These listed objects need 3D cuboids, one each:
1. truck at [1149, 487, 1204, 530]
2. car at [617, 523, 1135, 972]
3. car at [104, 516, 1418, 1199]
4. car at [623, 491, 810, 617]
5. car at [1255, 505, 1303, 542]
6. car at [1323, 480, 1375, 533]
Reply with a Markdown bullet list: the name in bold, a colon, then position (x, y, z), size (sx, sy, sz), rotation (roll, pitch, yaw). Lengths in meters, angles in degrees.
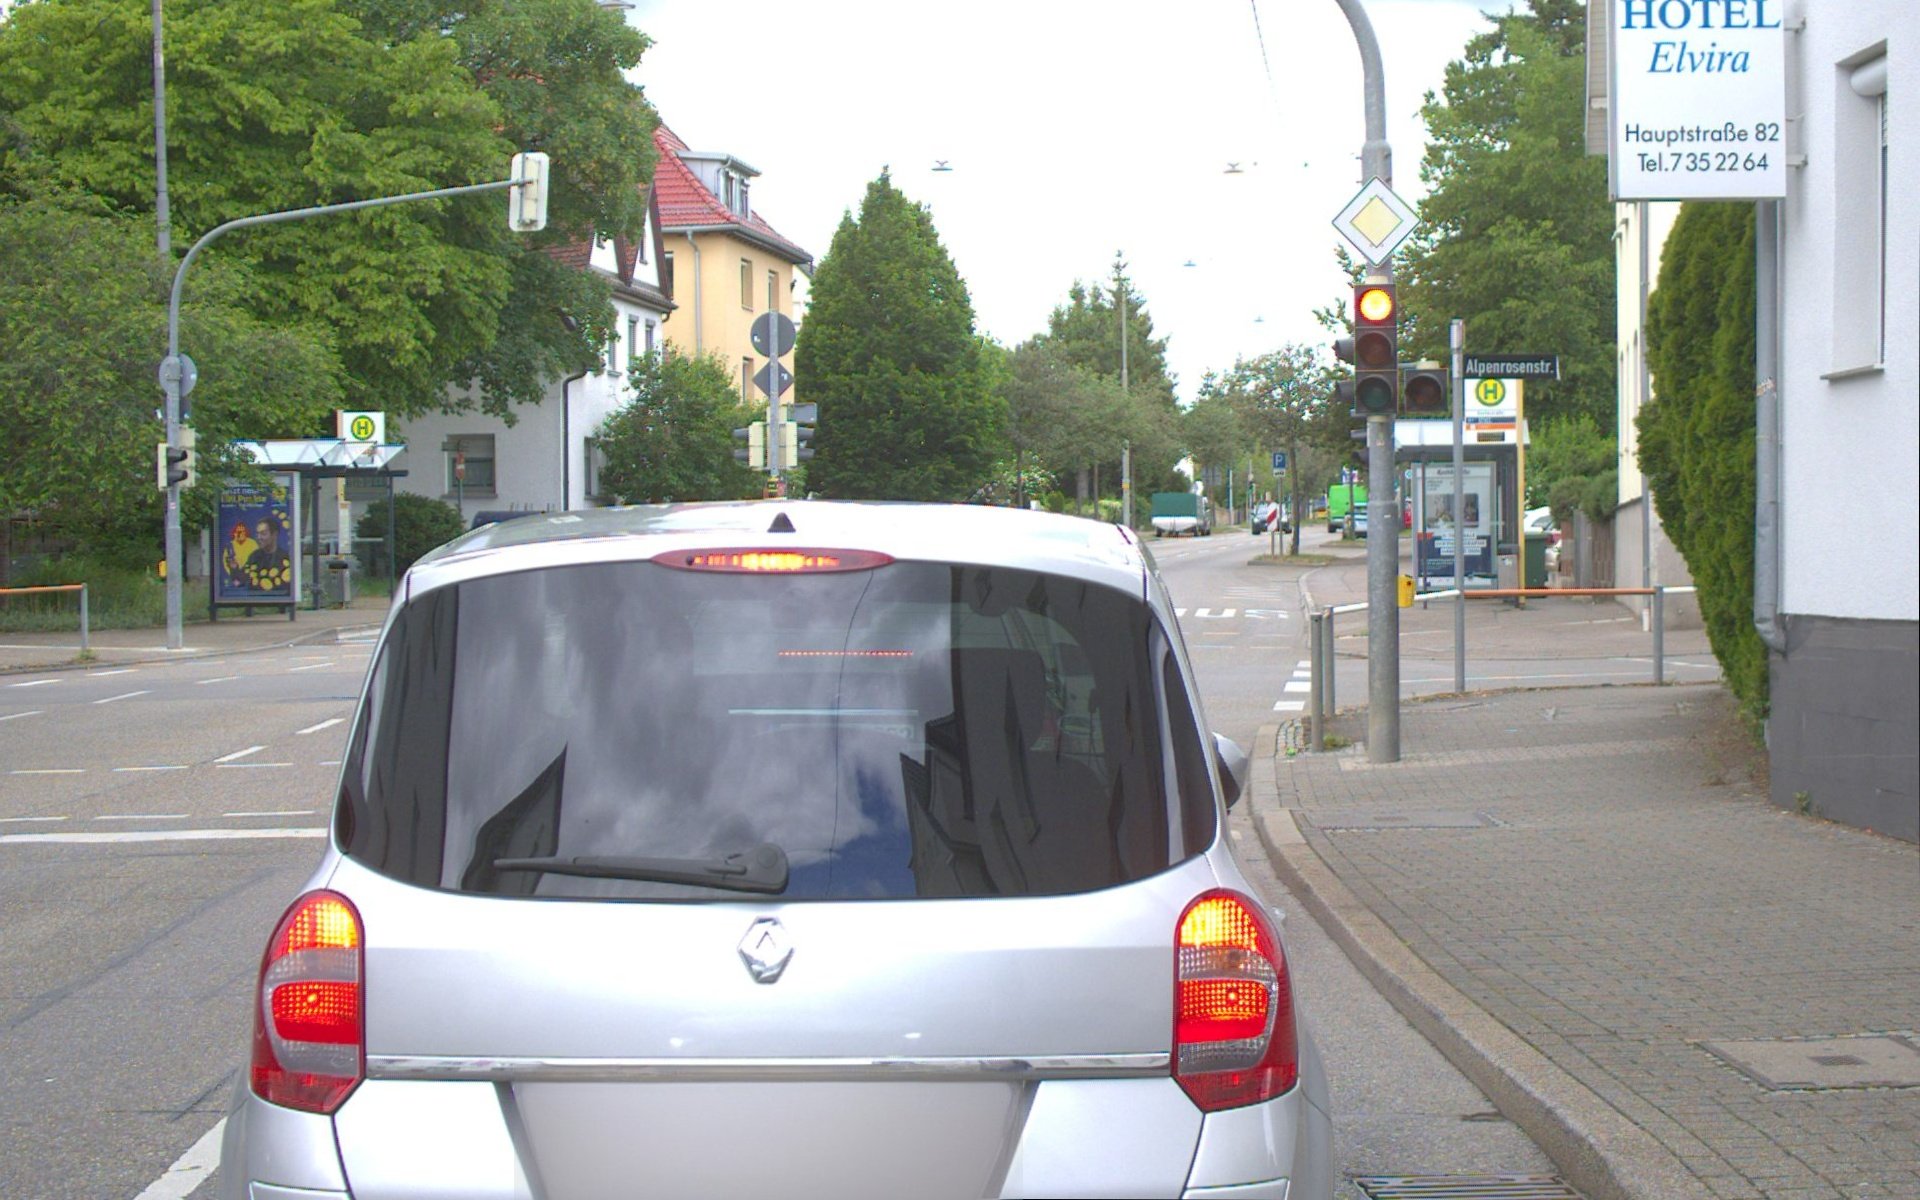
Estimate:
- **truck**: position (10.497, -4.421, 166.502), size (2.102, 2.007, 5.745), rotation (1, 1, 9)
- **car**: position (-0.320, 0.476, 13.631), size (1.755, 1.525, 3.797), rotation (0, 1, -1)
- **car**: position (-0.303, 0.625, 6.614), size (1.755, 1.525, 4.000), rotation (0, 1, -1)
- **car**: position (-3.785, -0.744, 54.188), size (1.927, 1.767, 3.999), rotation (-4, 1, 10)
- **car**: position (15.268, -3.655, 164.496), size (1.858, 1.742, 3.998), rotation (1, 1, 11)
- **car**: position (19.097, -4.574, 168.555), size (2.060, 2.503, 5.593), rotation (1, 1, 11)
